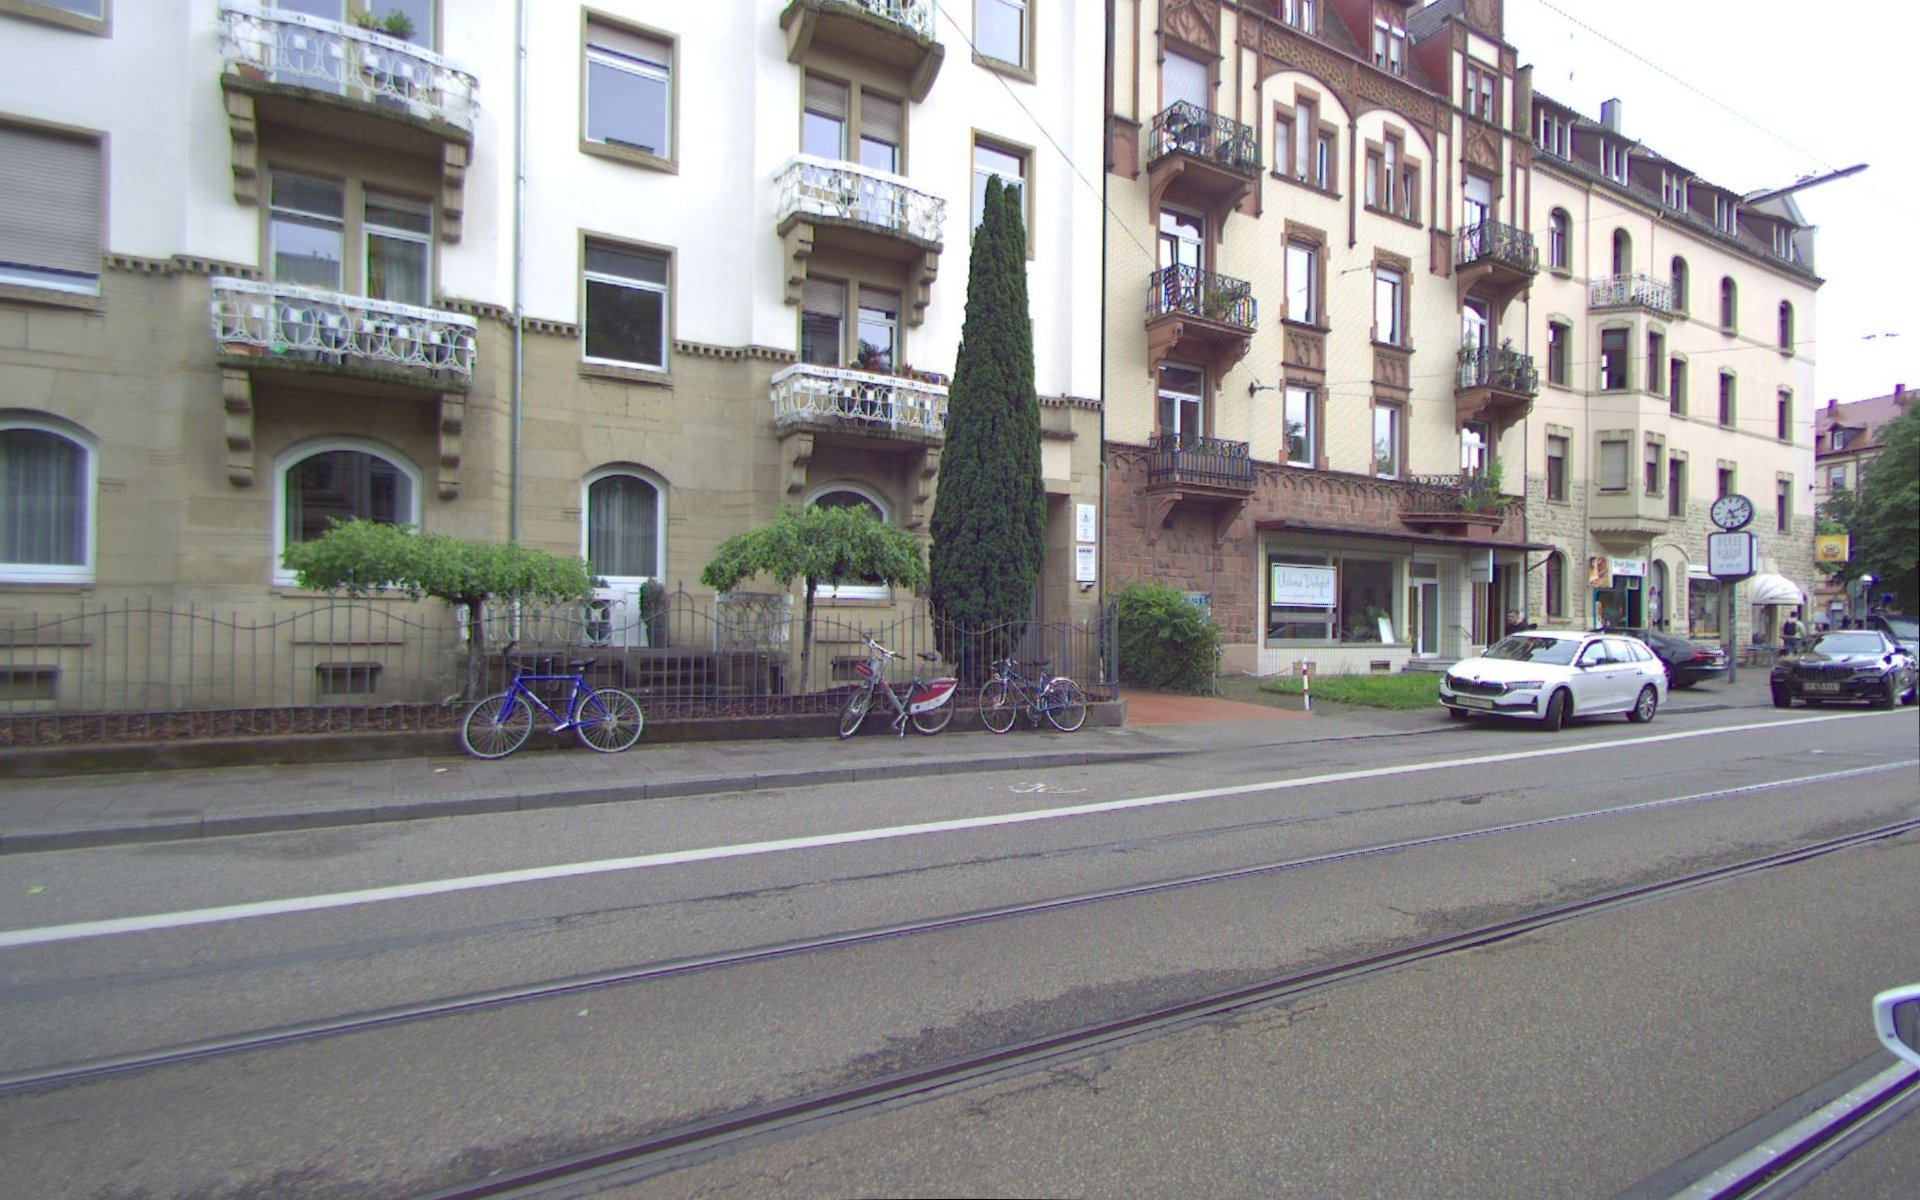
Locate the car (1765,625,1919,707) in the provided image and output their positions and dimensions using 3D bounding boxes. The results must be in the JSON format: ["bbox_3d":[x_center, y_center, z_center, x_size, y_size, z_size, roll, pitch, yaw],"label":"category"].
[{"bbox_3d":[19.819,1.433,22.433,4.846,1.632,1.868,2,-4,-40],"label":"car"}]

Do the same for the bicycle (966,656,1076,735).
[{"bbox_3d":[0.798,1.209,12.941,1.498,0.950,0.330,1,-1,-31],"label":"bicycle"}]

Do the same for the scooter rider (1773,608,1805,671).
[{"bbox_3d":[27.518,1.301,33.343,0.750,2.040,0.638,1,-1,-34],"label":"scooter rider"}]

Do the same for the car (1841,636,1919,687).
[{"bbox_3d":[29.107,1.864,31.144,4.085,1.380,1.639,1,1,-33],"label":"car"}]

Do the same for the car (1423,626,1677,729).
[{"bbox_3d":[9.878,1.194,16.721,4.557,1.504,1.738,1,-1,-32],"label":"car"}]

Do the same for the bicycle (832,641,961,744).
[{"bbox_3d":[-0.716,1.043,11.724,1.613,1.116,0.381,2,-1,-42],"label":"bicycle"}]

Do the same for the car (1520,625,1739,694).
[{"bbox_3d":[17.403,1.479,26.320,1.861,1.389,4.396,1,1,-34],"label":"car"}]

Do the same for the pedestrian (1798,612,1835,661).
[{"bbox_3d":[36.441,1.558,42.752,0.826,2.040,0.969,1,-1,-30],"label":"pedestrian"}]

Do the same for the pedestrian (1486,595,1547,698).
[{"bbox_3d":[10.352,0.854,18.692,0.872,1.868,0.664,1,-1,-32],"label":"pedestrian"}]

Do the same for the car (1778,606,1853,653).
[{"bbox_3d":[49.866,1.711,58.664,2.146,2.560,5.373,0,-1,27],"label":"car"}]

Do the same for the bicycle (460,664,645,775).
[{"bbox_3d":[-4.012,1.162,9.921,1.640,0.938,0.357,0,-19,-29],"label":"bicycle"}]

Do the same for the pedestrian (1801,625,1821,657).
[{"bbox_3d":[45.647,2.189,53.870,0.686,1.738,0.552,0,-1,20],"label":"pedestrian"}]

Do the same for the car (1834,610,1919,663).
[{"bbox_3d":[44.961,1.732,48.534,2.142,2.449,5.382,0,-1,17],"label":"car"}]

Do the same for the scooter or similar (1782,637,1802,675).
[{"bbox_3d":[27.560,1.841,33.274,0.943,1.250,0.230,1,-1,-33],"label":"scooter or similar"}]
